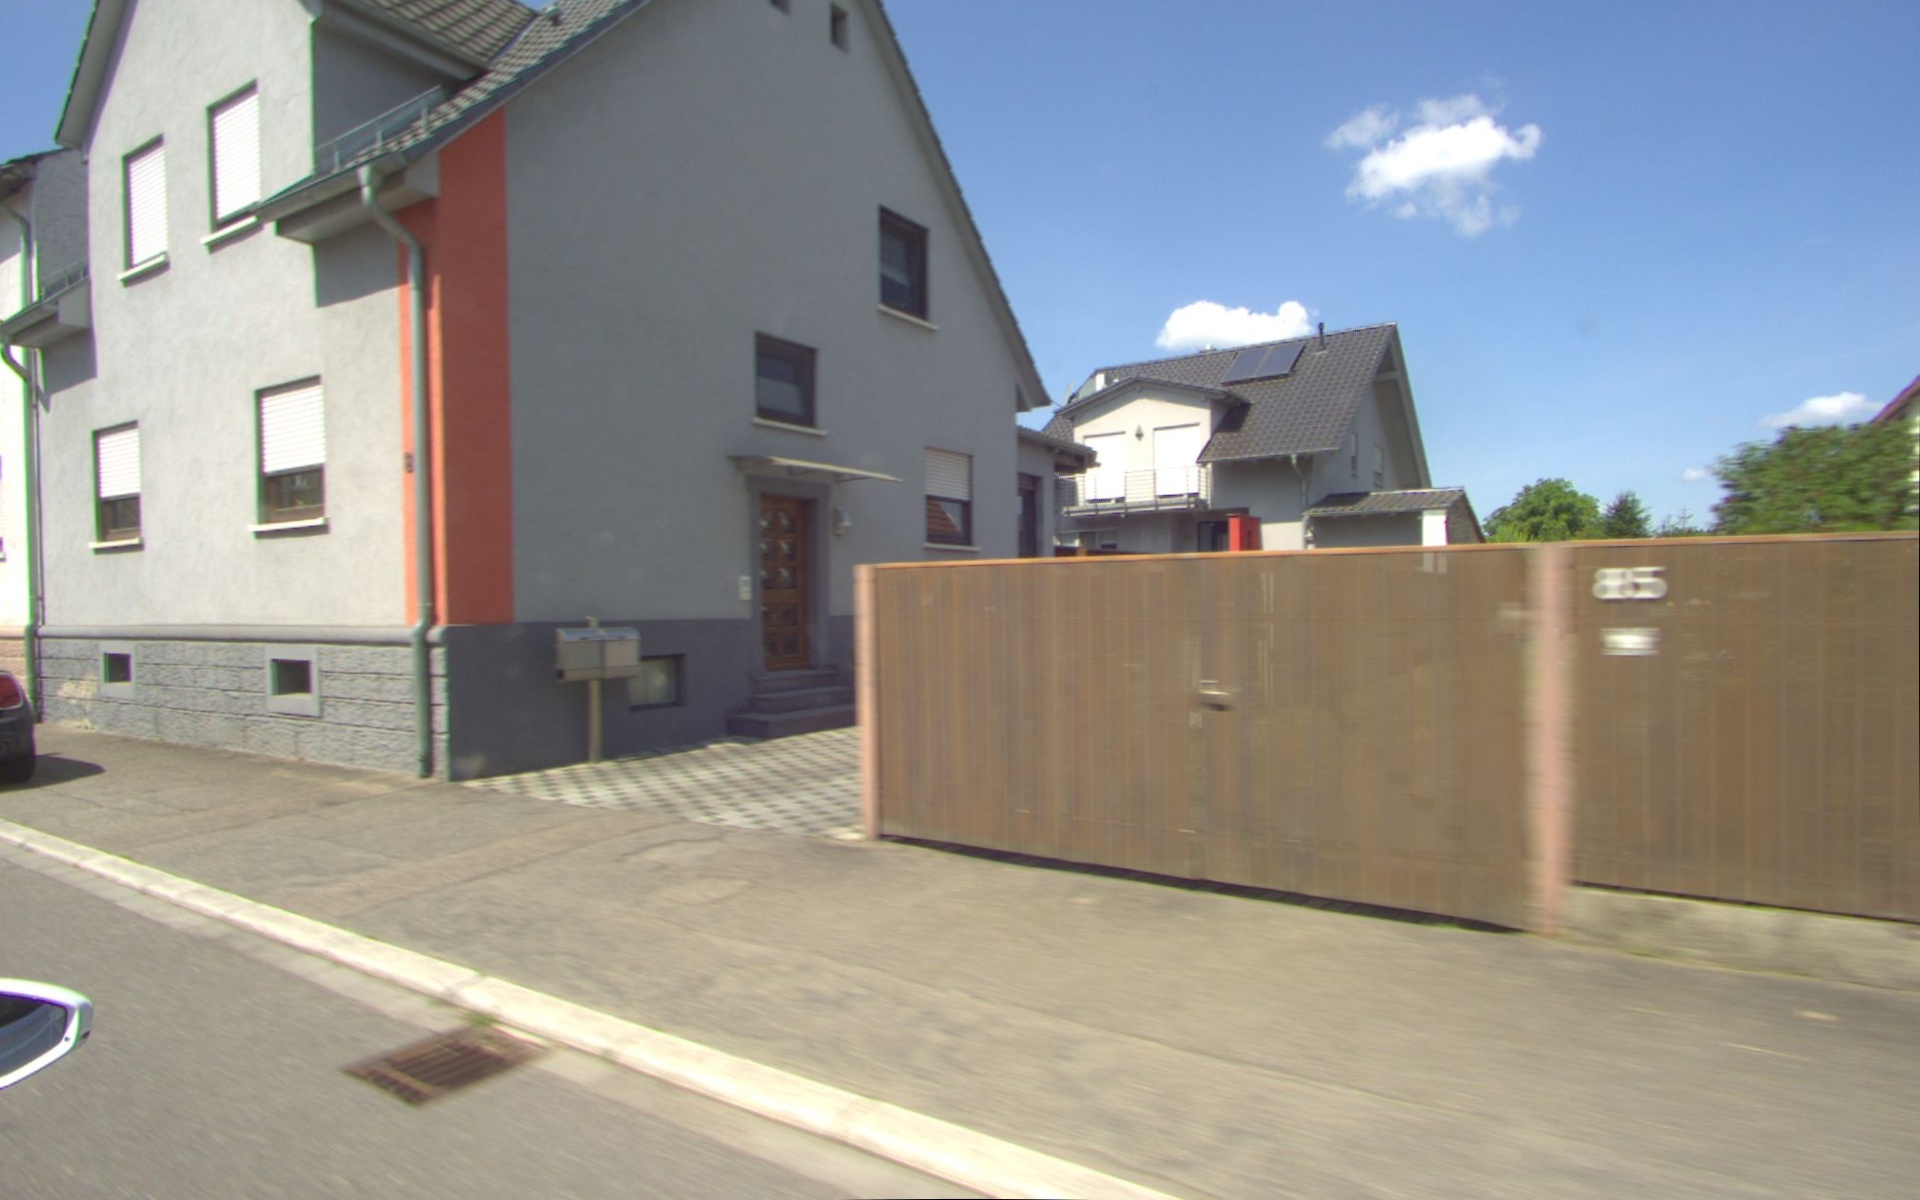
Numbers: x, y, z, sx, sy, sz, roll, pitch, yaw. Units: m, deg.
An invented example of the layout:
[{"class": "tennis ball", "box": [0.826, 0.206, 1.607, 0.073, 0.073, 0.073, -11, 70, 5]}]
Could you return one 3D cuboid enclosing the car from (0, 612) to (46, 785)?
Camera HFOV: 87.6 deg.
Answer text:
[{"class": "car", "box": [-9.811, 0.839, 8.837, 3.604, 1.441, 1.685, 0, 0, 32]}]
